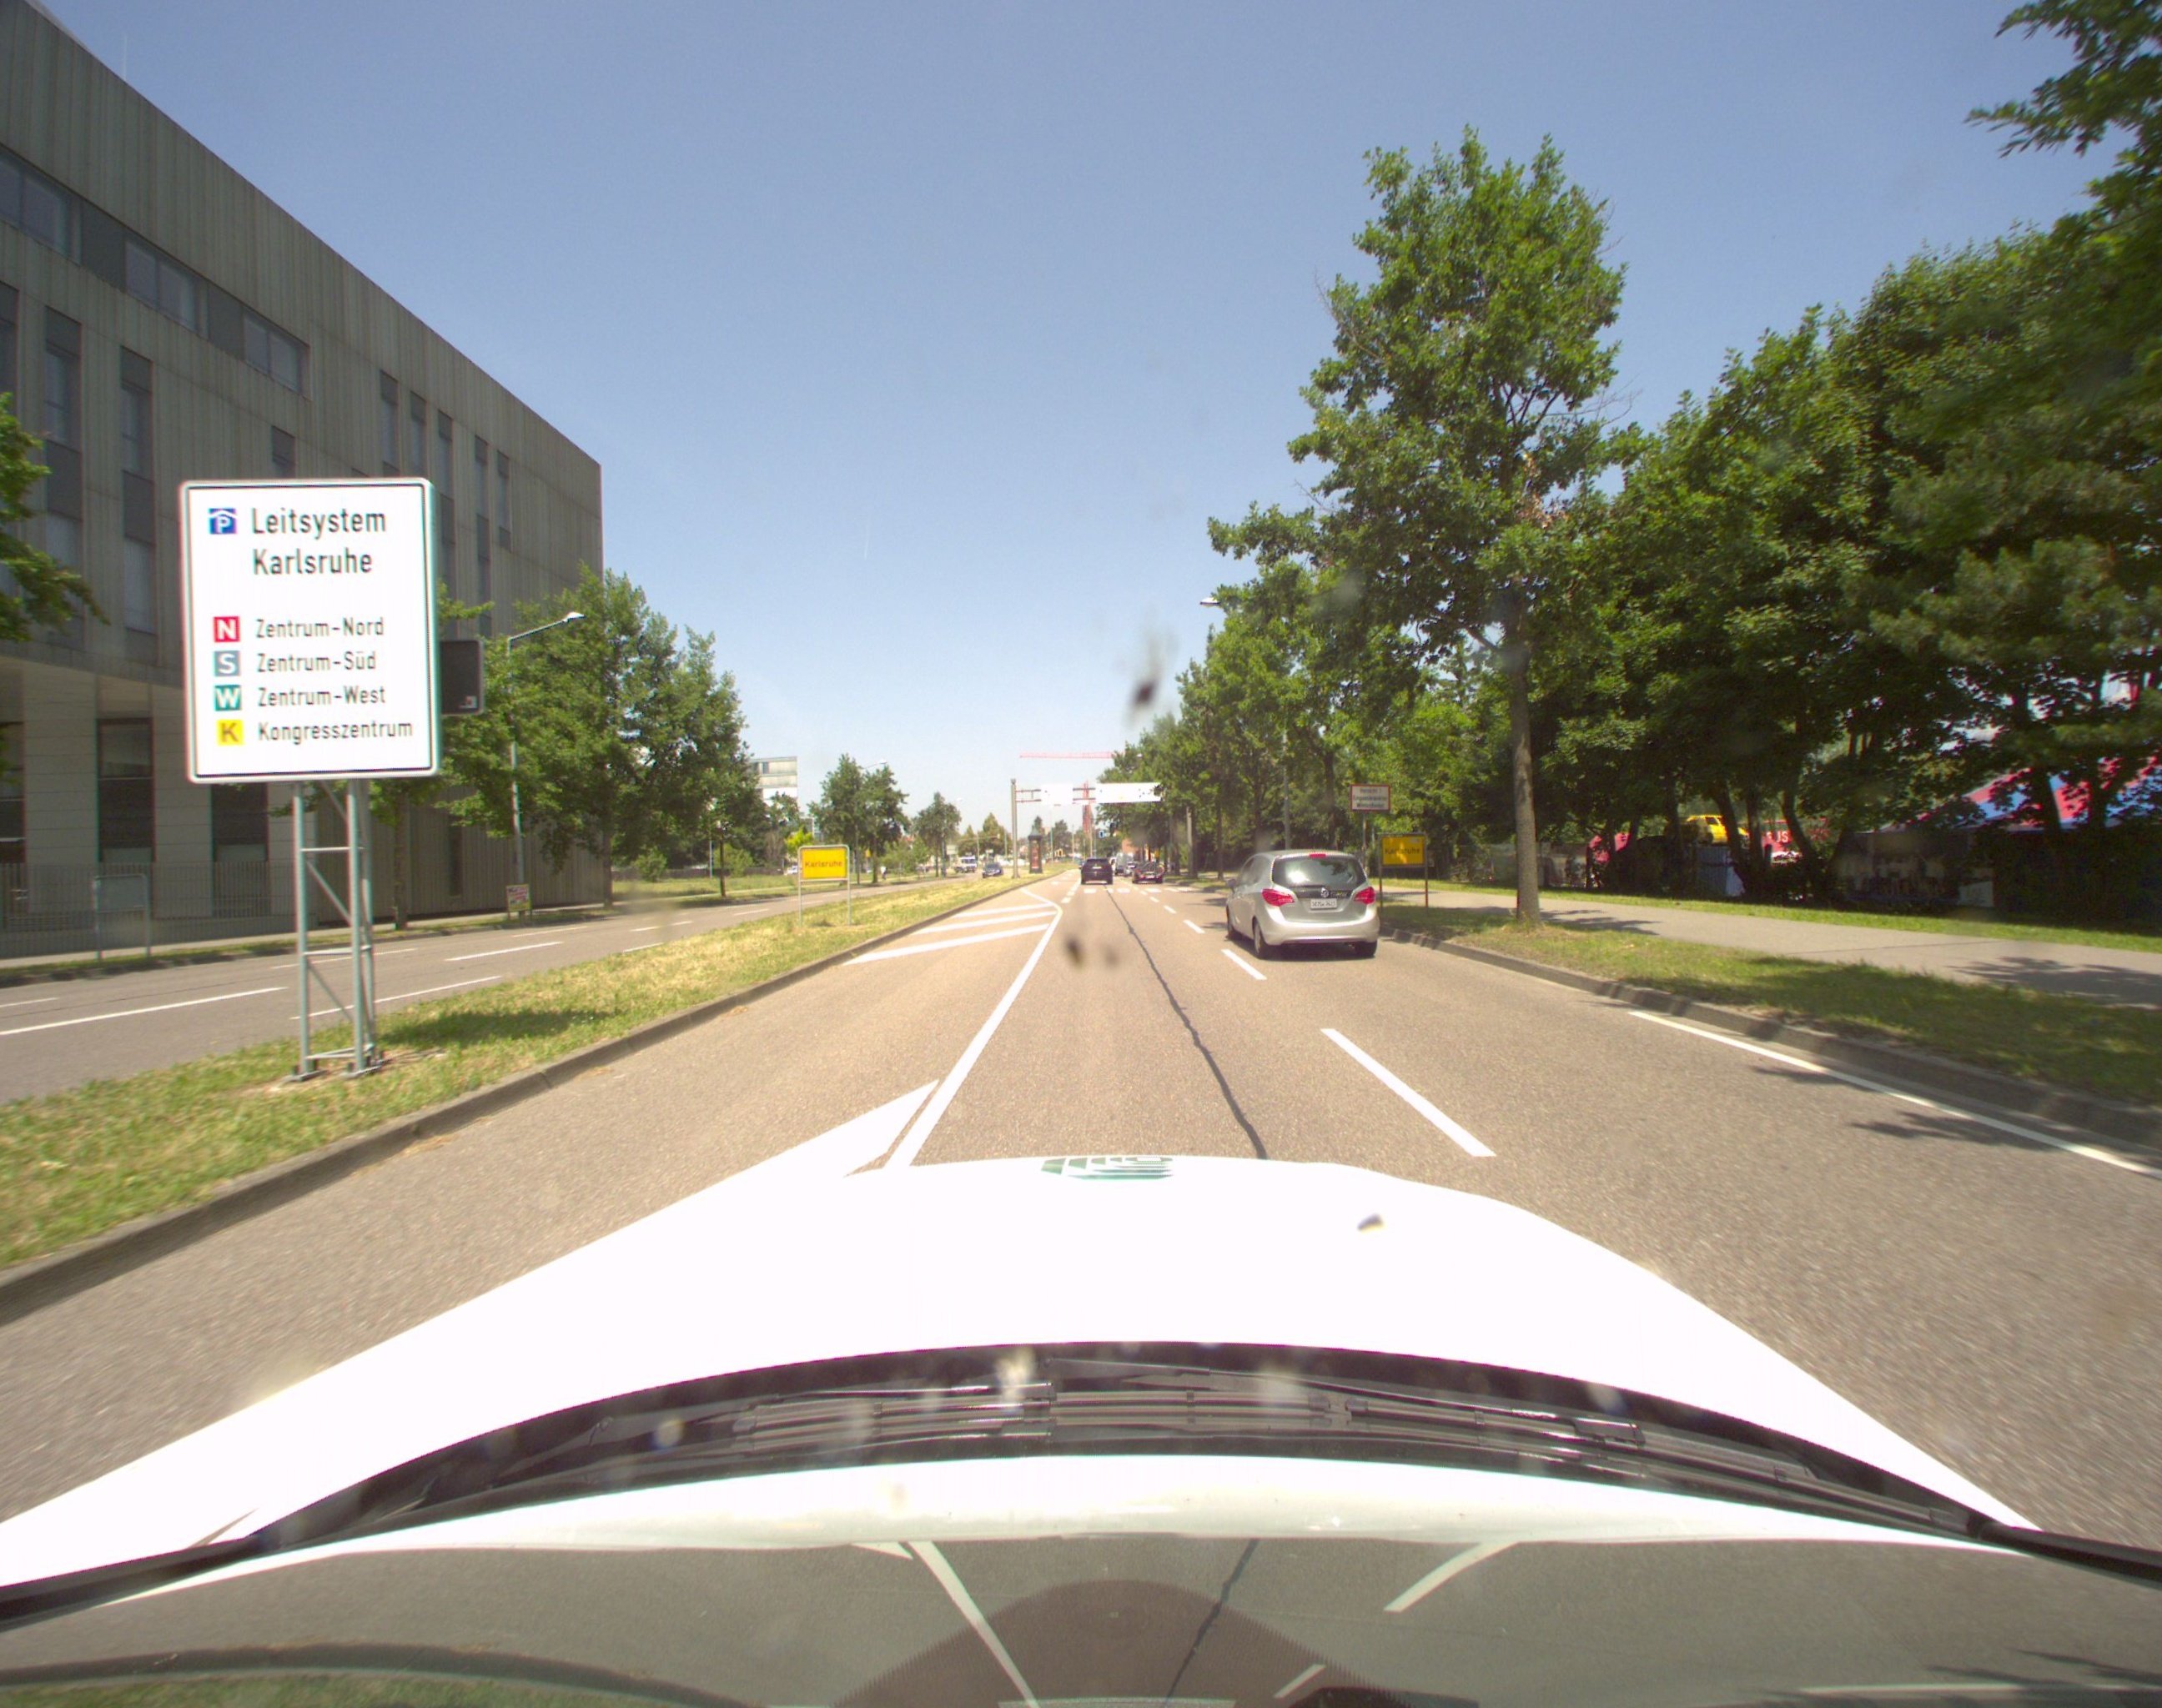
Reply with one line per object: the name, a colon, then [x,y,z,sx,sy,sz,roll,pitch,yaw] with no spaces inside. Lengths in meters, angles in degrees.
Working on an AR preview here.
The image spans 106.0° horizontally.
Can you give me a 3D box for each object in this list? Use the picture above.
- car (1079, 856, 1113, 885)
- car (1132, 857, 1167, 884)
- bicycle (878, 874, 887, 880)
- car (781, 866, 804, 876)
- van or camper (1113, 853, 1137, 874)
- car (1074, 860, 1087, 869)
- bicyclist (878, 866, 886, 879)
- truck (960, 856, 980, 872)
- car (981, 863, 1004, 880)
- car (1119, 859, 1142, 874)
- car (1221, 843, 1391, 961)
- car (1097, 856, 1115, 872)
car: [0.985,0.988,50.101,1.990,1.689,4.036,-1,0,2]
car: [4.228,0.988,50.938,2.006,1.517,4.463,-2,0,3]
bicycle: [-22.354,2.591,91.708,0.479,0.715,1.852,-2,-1,4]
car: [-63.918,3.777,180.495,1.974,1.878,4.317,-2,-1,31]
van or camper: [4.929,1.046,92.518,2.484,2.291,4.922,-2,0,1]
car: [-0.104,1.726,131.638,1.989,1.321,3.995,-1,0,-4]
bicyclist: [-22.371,2.076,91.666,0.620,1.489,0.757,-2,-1,3]
truck: [-18.577,1.588,136.857,2.631,2.576,6.314,-1,0,-1]
car: [-9.228,1.798,85.087,1.887,1.610,4.532,-3,0,-1]
car: [4.691,1.147,77.838,1.650,1.356,4.456,-2,0,-3]
car: [3.429,0.656,13.165,1.785,1.612,3.893,-1,0,2]
car: [3.324,1.293,108.482,1.989,2.013,3.996,-1,0,-3]
